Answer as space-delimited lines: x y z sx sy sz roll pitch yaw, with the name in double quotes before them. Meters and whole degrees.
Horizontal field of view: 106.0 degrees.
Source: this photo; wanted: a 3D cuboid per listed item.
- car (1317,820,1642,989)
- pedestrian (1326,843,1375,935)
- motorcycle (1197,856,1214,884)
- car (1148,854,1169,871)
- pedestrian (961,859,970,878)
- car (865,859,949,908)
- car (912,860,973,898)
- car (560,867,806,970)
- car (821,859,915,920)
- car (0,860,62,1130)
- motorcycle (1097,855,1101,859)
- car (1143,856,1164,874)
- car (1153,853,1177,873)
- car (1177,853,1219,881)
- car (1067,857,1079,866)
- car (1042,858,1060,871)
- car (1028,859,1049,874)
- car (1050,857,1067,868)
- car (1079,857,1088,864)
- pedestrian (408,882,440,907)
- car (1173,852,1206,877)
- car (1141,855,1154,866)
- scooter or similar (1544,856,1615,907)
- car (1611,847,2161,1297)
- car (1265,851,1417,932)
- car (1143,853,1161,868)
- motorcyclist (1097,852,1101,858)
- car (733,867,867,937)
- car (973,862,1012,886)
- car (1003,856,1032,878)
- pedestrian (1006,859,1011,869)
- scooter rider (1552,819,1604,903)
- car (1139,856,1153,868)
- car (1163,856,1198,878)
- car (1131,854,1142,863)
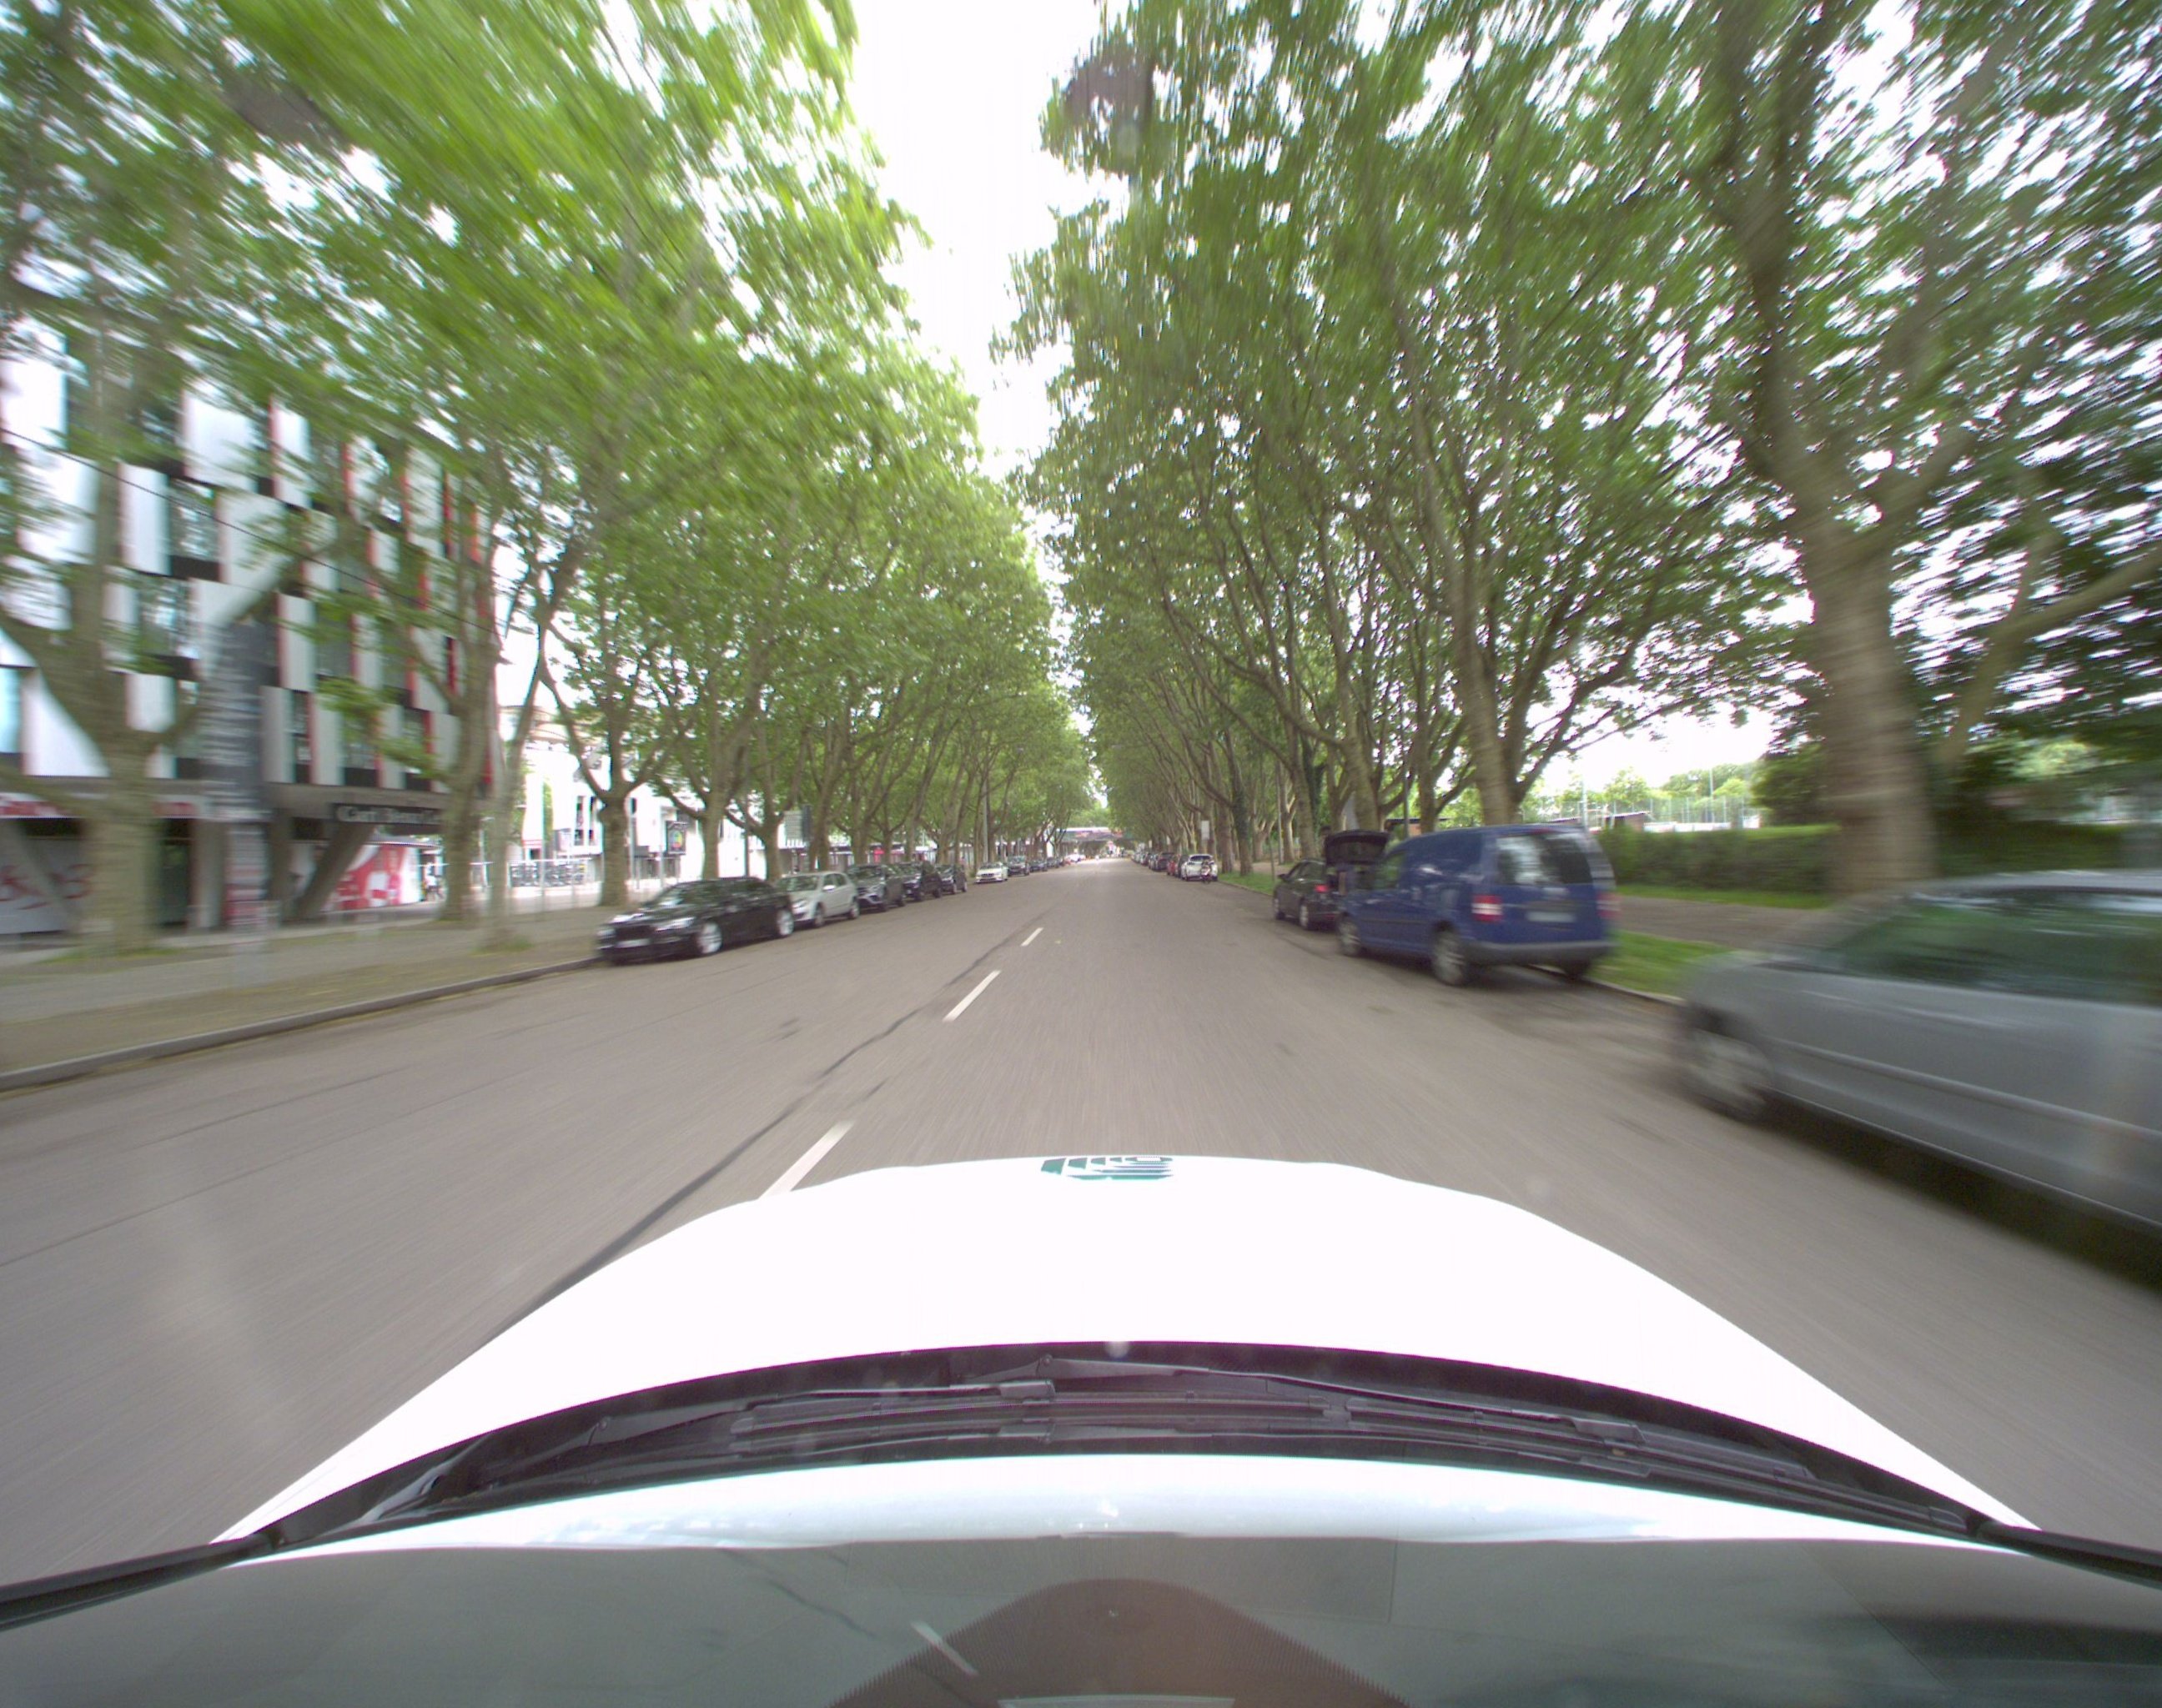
"car" 4.904 0.523 10.872 1.840 1.783 4.438 0 0 -6
"pedestrian" 4.983 0.634 15.103 0.631 1.627 0.743 -2 0 2
"motorcycle" 6.099 0.763 39.790 0.707 1.331 1.998 -2 0 11
"car" 6.903 0.760 73.073 1.661 1.509 4.356 0 0 3
"pedestrian" -10.951 1.382 77.207 0.572 1.770 0.771 -2 -1 17
"car" -7.006 1.137 33.384 1.929 1.643 4.933 -5 0 4
"car" -6.559 1.137 38.931 1.826 1.494 4.446 -5 0 3
"car" -7.644 1.137 16.425 2.075 1.530 5.150 -3 0 4
"car" -7.067 1.102 27.517 1.864 1.718 4.646 -5 0 -1
"car" -8.263 1.006 3.451 1.888 1.795 4.614 -5 -1 2
"motorcycle" 4.310 0.747 195.758 0.870 1.079 3.051 -2 0 -1
"car" 7.245 1.081 82.060 1.771 1.673 4.639 -2 0 2
"car" 6.881 0.714 67.088 1.748 1.620 4.442 0 0 3
"car" 6.425 0.689 44.991 1.729 1.438 4.123 -2 0 1
"car" -1.616 1.433 159.942 2.065 1.563 4.759 -2 0 3
"car" -3.896 1.303 105.850 1.870 1.527 4.154 -3 0 3
"car" -4.570 1.305 88.045 1.718 1.486 4.577 -2 0 3
"car" -3.243 1.255 118.060 1.818 1.465 4.633 -3 -1 5
"car" 0.649 1.669 212.969 1.989 1.601 3.996 -2 0 -3
"pedestrian" -41.051 2.509 50.882 1.041 1.462 1.110 -2 0 0
"car" 6.711 0.656 50.684 1.723 1.470 4.083 1 0 3
"car" 8.912 0.908 109.309 1.700 1.427 3.891 -1 0 2
"scooter or similar" 11.121 0.588 18.226 0.677 1.038 1.468 -5 0 2
"car" 4.392 0.709 3.699 1.612 1.461 3.950 0 0 4
"car" 5.299 0.695 17.268 1.986 1.478 4.374 -1 0 2
"car" 8.354 0.745 96.128 1.701 1.698 4.631 0 0 1
"motorcyclist" 4.309 0.243 195.794 0.868 1.480 1.264 -2 0 -1
"car" -7.344 1.196 21.763 1.826 1.456 4.233 -5 0 2
"car" -6.124 1.330 56.674 1.896 1.403 4.754 -5 0 2
"car" -5.440 1.113 70.278 1.942 1.750 4.640 -4 0 2
"pedestrian" -12.051 1.664 135.943 0.588 1.620 0.794 -2 -1 11
"scooter rider" 11.077 0.146 18.159 0.674 1.800 0.588 -4 0 2
"car" 9.817 1.179 123.203 1.895 1.739 4.509 -2 0 2
"car" 6.724 0.850 55.548 1.711 1.438 4.626 0 0 -2
"car" 9.930 0.805 145.975 1.796 1.555 4.002 -2 0 2
